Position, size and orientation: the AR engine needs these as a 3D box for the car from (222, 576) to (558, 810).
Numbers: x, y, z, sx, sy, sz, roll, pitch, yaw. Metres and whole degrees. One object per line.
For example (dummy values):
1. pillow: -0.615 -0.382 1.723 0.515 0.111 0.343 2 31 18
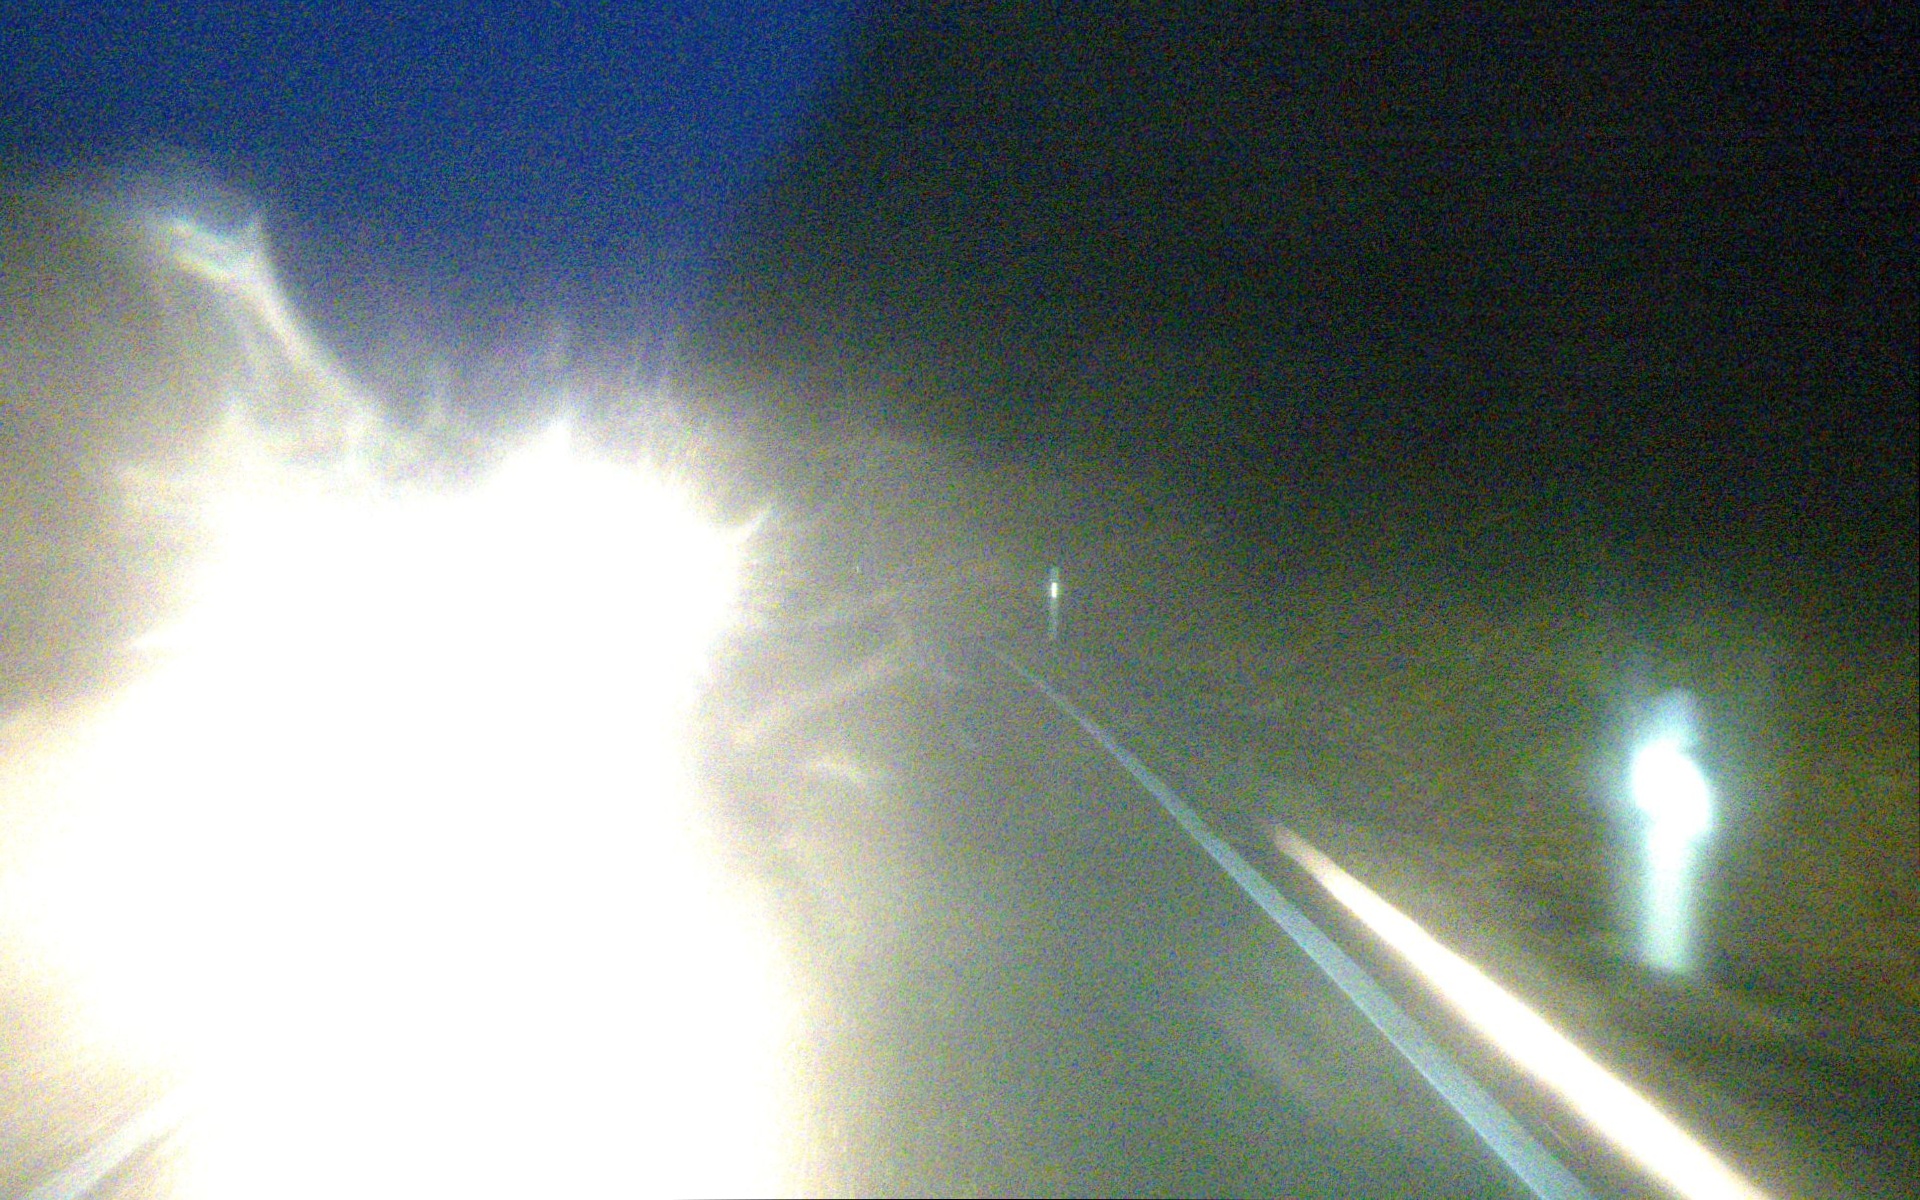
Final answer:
1. car: -4.265 0.637 26.410 1.855 1.516 4.681 2 1 -1
